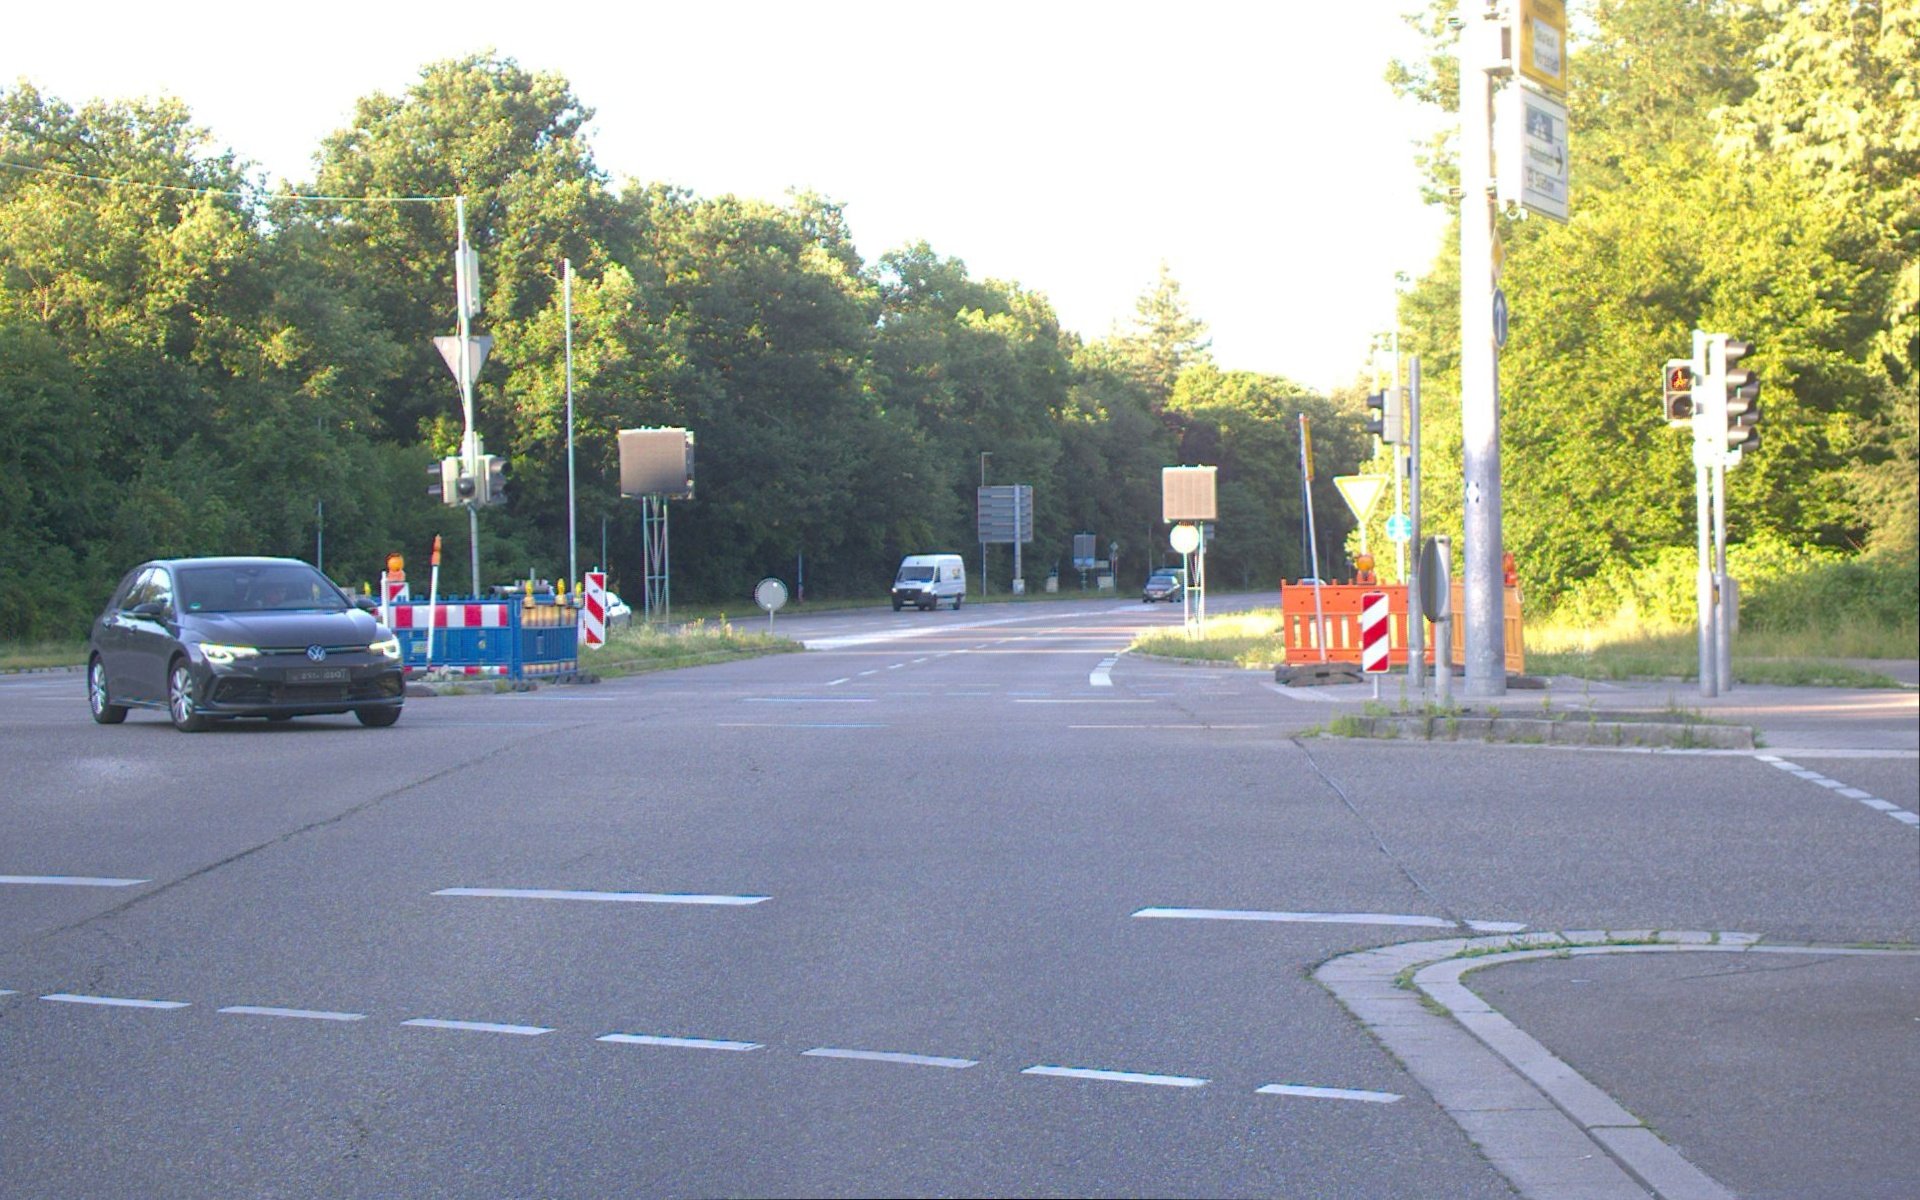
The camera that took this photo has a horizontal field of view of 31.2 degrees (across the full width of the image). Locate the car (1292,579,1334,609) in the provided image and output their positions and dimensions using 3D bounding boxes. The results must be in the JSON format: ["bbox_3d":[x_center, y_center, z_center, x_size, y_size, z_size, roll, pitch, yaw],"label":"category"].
[{"bbox_3d":[19.899,-0.336,193.889,1.994,1.612,3.998,0,1,11],"label":"car"}]

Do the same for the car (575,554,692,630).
[{"bbox_3d":[-8.921,-0.227,94.292,1.995,2.007,3.998,0,1,14],"label":"car"}]

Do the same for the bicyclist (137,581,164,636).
[{"bbox_3d":[-20.552,0.213,87.240,0.518,1.382,0.407,-1,1,-42],"label":"bicyclist"}]

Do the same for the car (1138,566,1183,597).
[{"bbox_3d":[11.597,-1.086,198.713,1.994,1.634,3.998,-2,2,12],"label":"car"}]

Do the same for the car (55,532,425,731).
[{"bbox_3d":[-6.179,0.214,29.059,1.993,1.524,4.679,-1,1,-25],"label":"car"}]

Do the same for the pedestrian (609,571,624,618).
[{"bbox_3d":[-14.626,-0.235,146.330,0.521,2.007,0.600,1,0,-1],"label":"pedestrian"}]

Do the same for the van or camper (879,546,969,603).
[{"bbox_3d":[-1.665,-1.248,164.151,2.886,2.643,7.119,0,1,11],"label":"van or camper"}]
